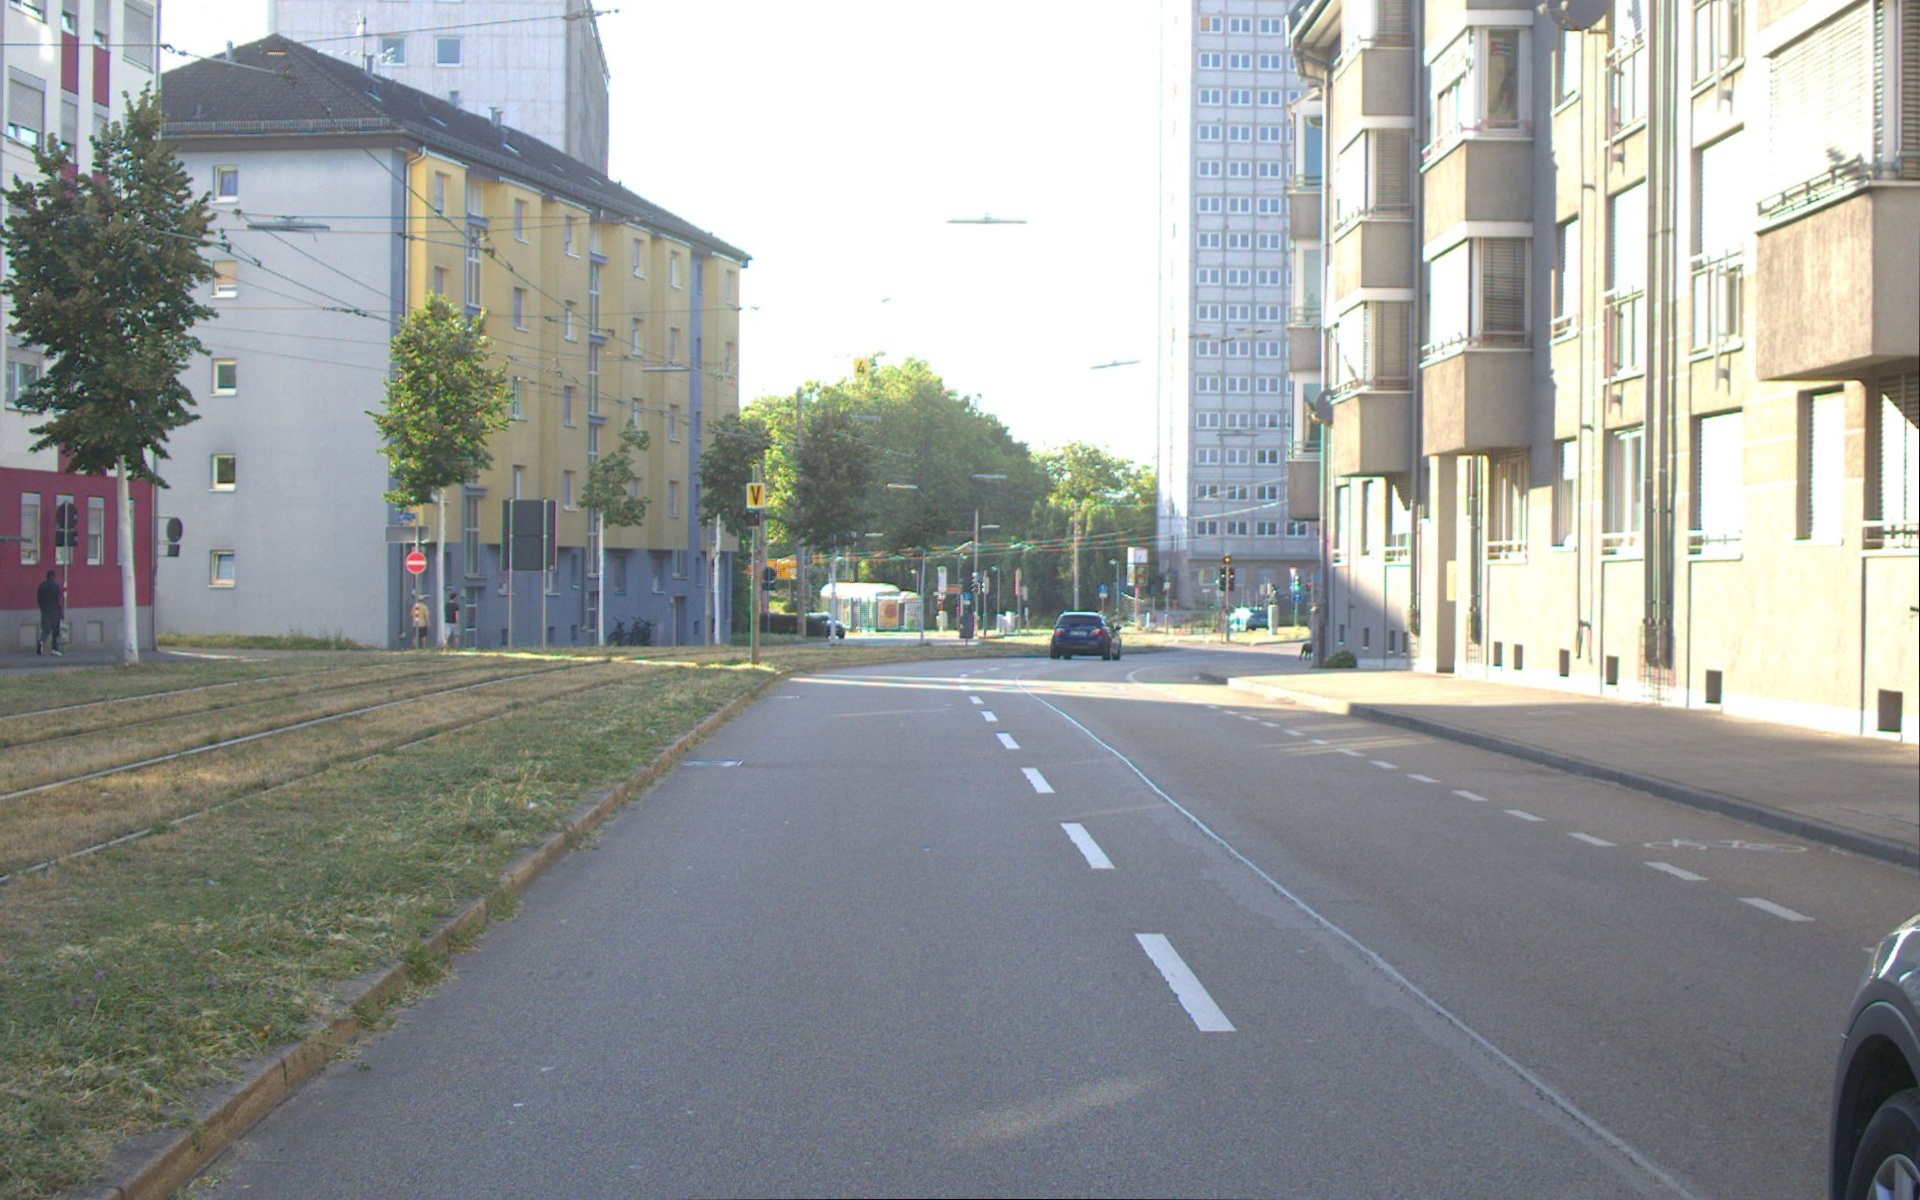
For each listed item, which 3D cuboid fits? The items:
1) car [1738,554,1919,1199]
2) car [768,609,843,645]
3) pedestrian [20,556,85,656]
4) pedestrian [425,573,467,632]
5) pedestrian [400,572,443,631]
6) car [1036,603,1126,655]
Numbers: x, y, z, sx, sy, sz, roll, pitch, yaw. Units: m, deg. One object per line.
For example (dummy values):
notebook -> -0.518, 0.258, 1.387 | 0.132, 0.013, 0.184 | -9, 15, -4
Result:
car -> 2.291, 0.717, 4.143 | 1.697, 1.547, 4.225 | 2, -1, -1
car -> -8.696, 1.517, 193.464 | 3.987, 2.007, 2.000 | 0, 0, 5
pedestrian -> -18.898, 0.124, 71.603 | 1.005, 2.028, 0.886 | 2, 0, 4
pedestrian -> -14.892, 0.075, 99.642 | 0.962, 1.664, 1.011 | 2, 0, 5
pedestrian -> -15.618, 0.041, 99.691 | 0.962, 1.688, 1.011 | 2, 0, 5
car -> 3.653, 0.877, 102.844 | 1.927, 1.451, 4.325 | 2, 0, 12
